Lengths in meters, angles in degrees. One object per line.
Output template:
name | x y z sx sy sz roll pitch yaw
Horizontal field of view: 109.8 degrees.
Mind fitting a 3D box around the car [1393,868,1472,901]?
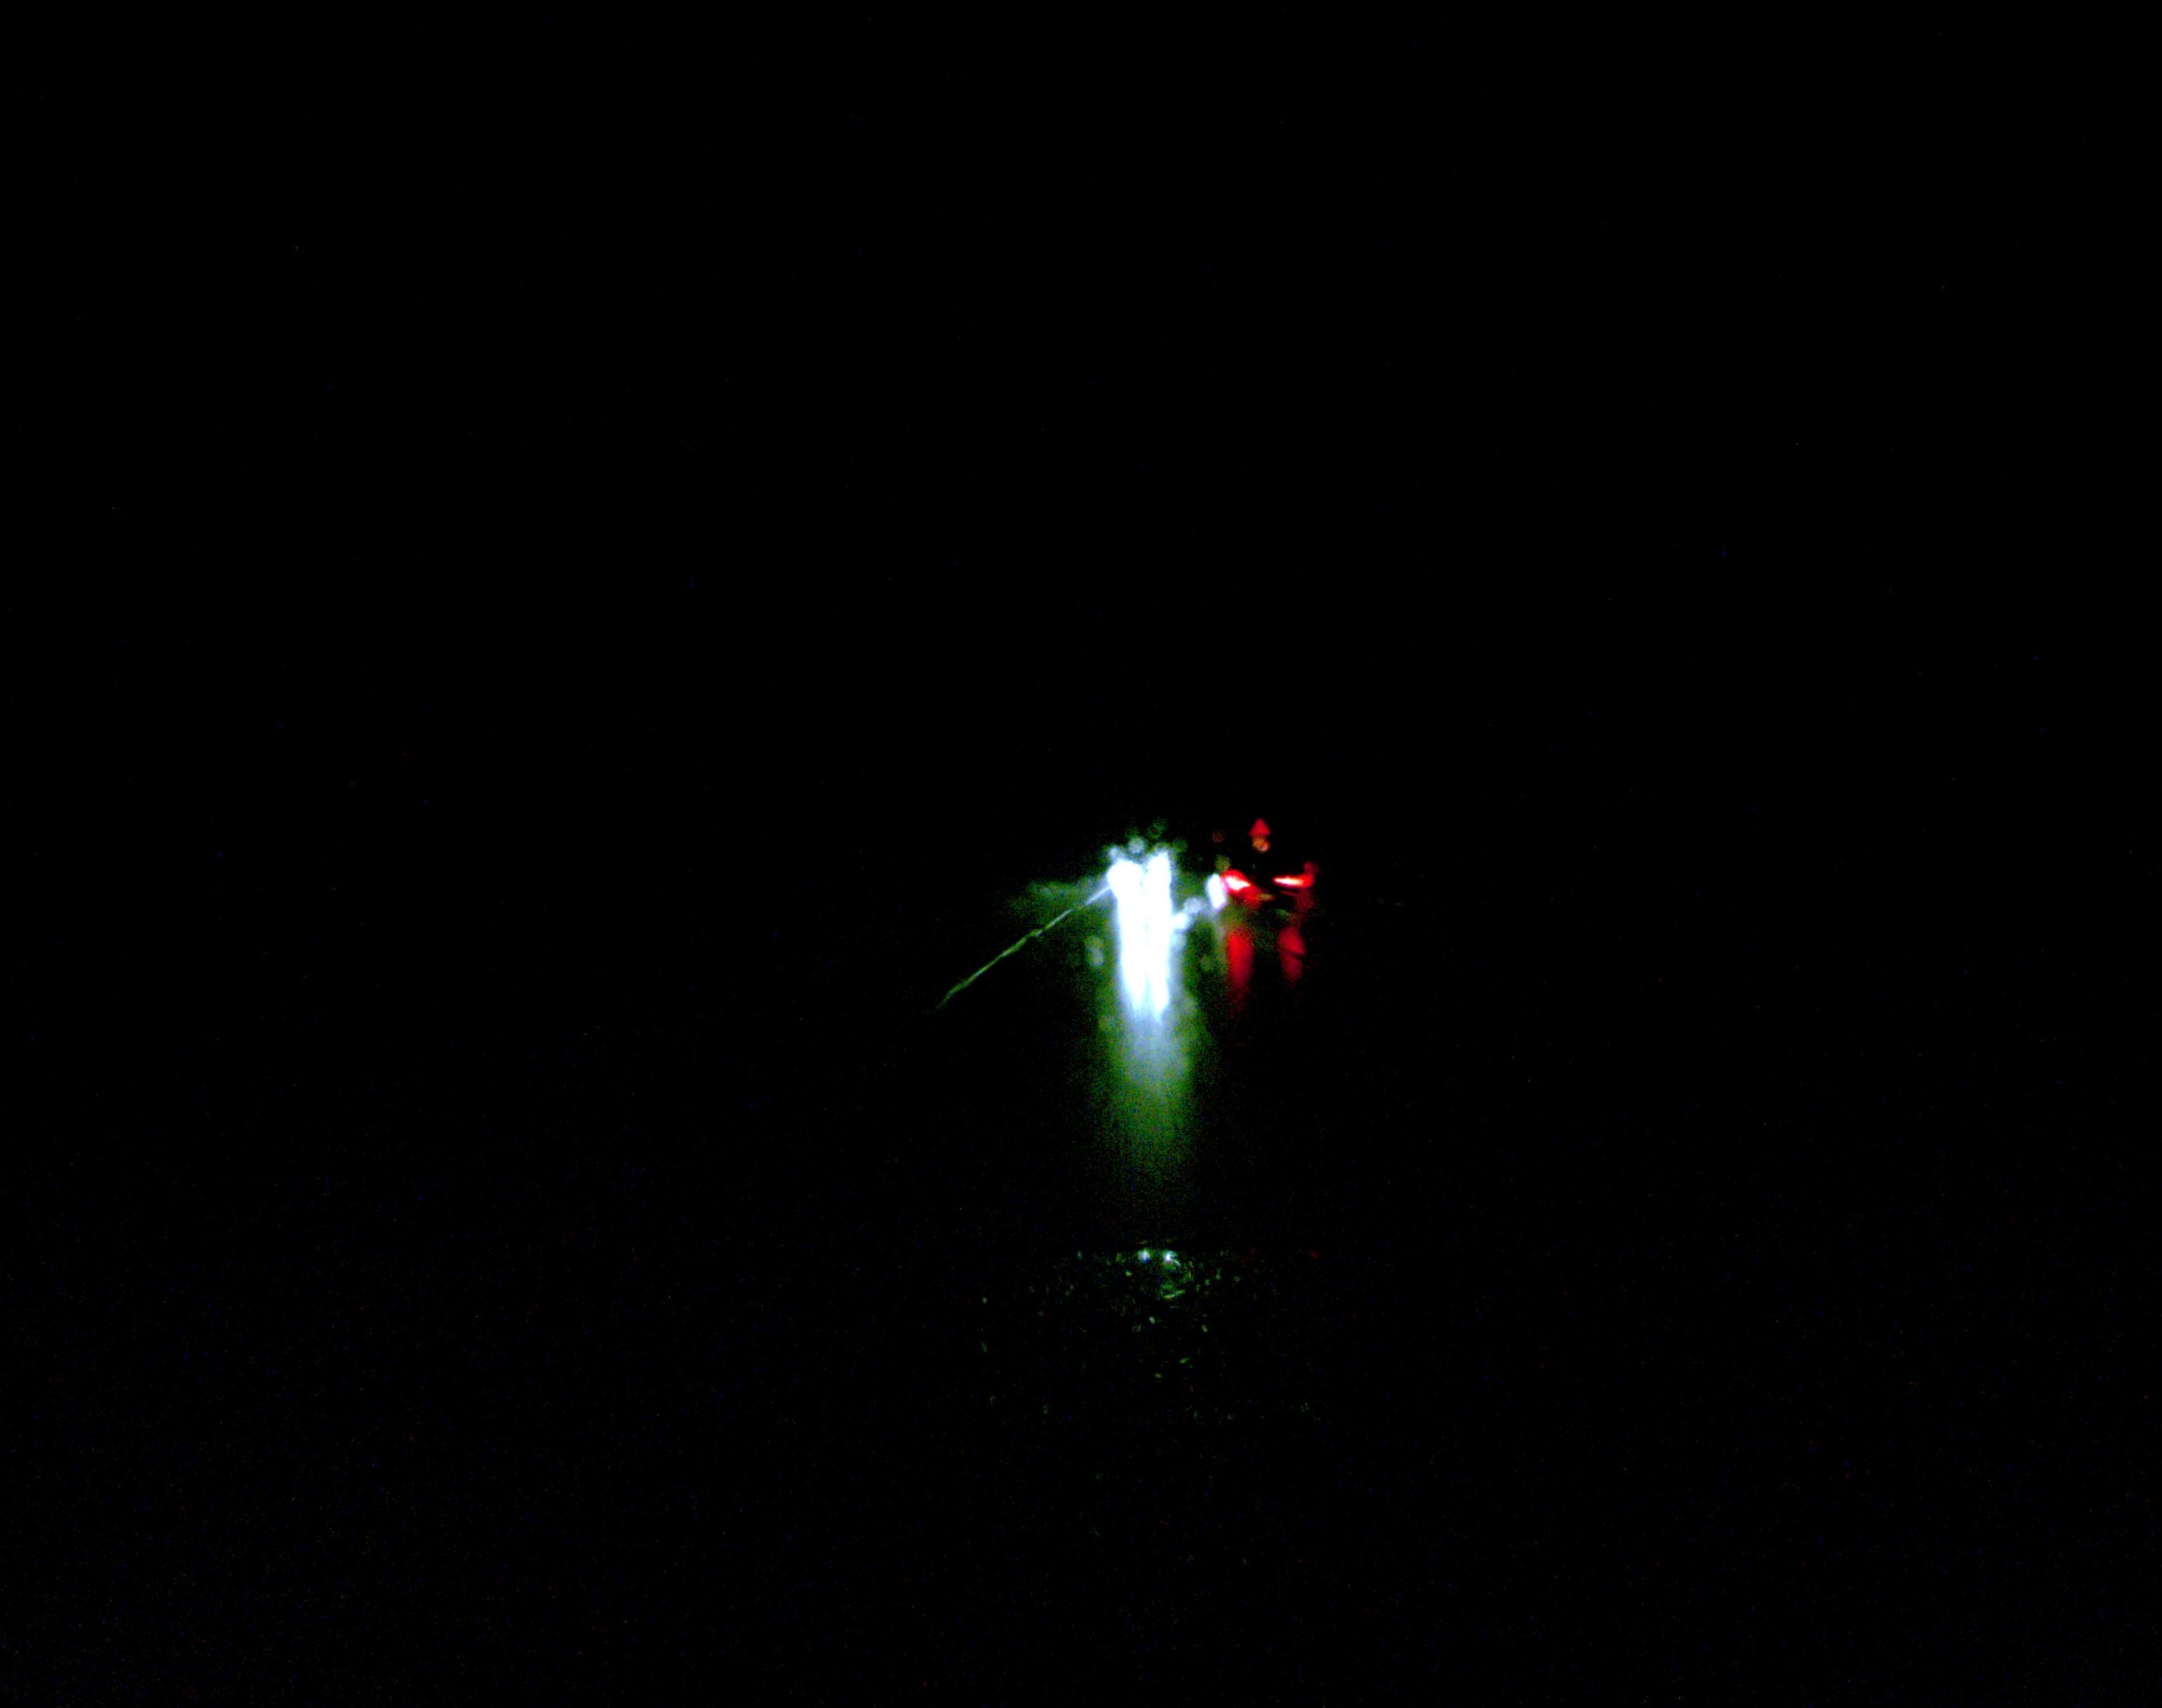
car | 20.608 1.782 44.708 1.977 1.819 3.995 0 -2 -19

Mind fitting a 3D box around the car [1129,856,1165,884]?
car | 4.059 0.954 46.763 1.998 1.412 4.001 -4 0 5

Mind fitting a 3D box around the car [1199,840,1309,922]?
car | 4.343 0.622 19.671 1.981 1.768 4.000 -4 0 3
